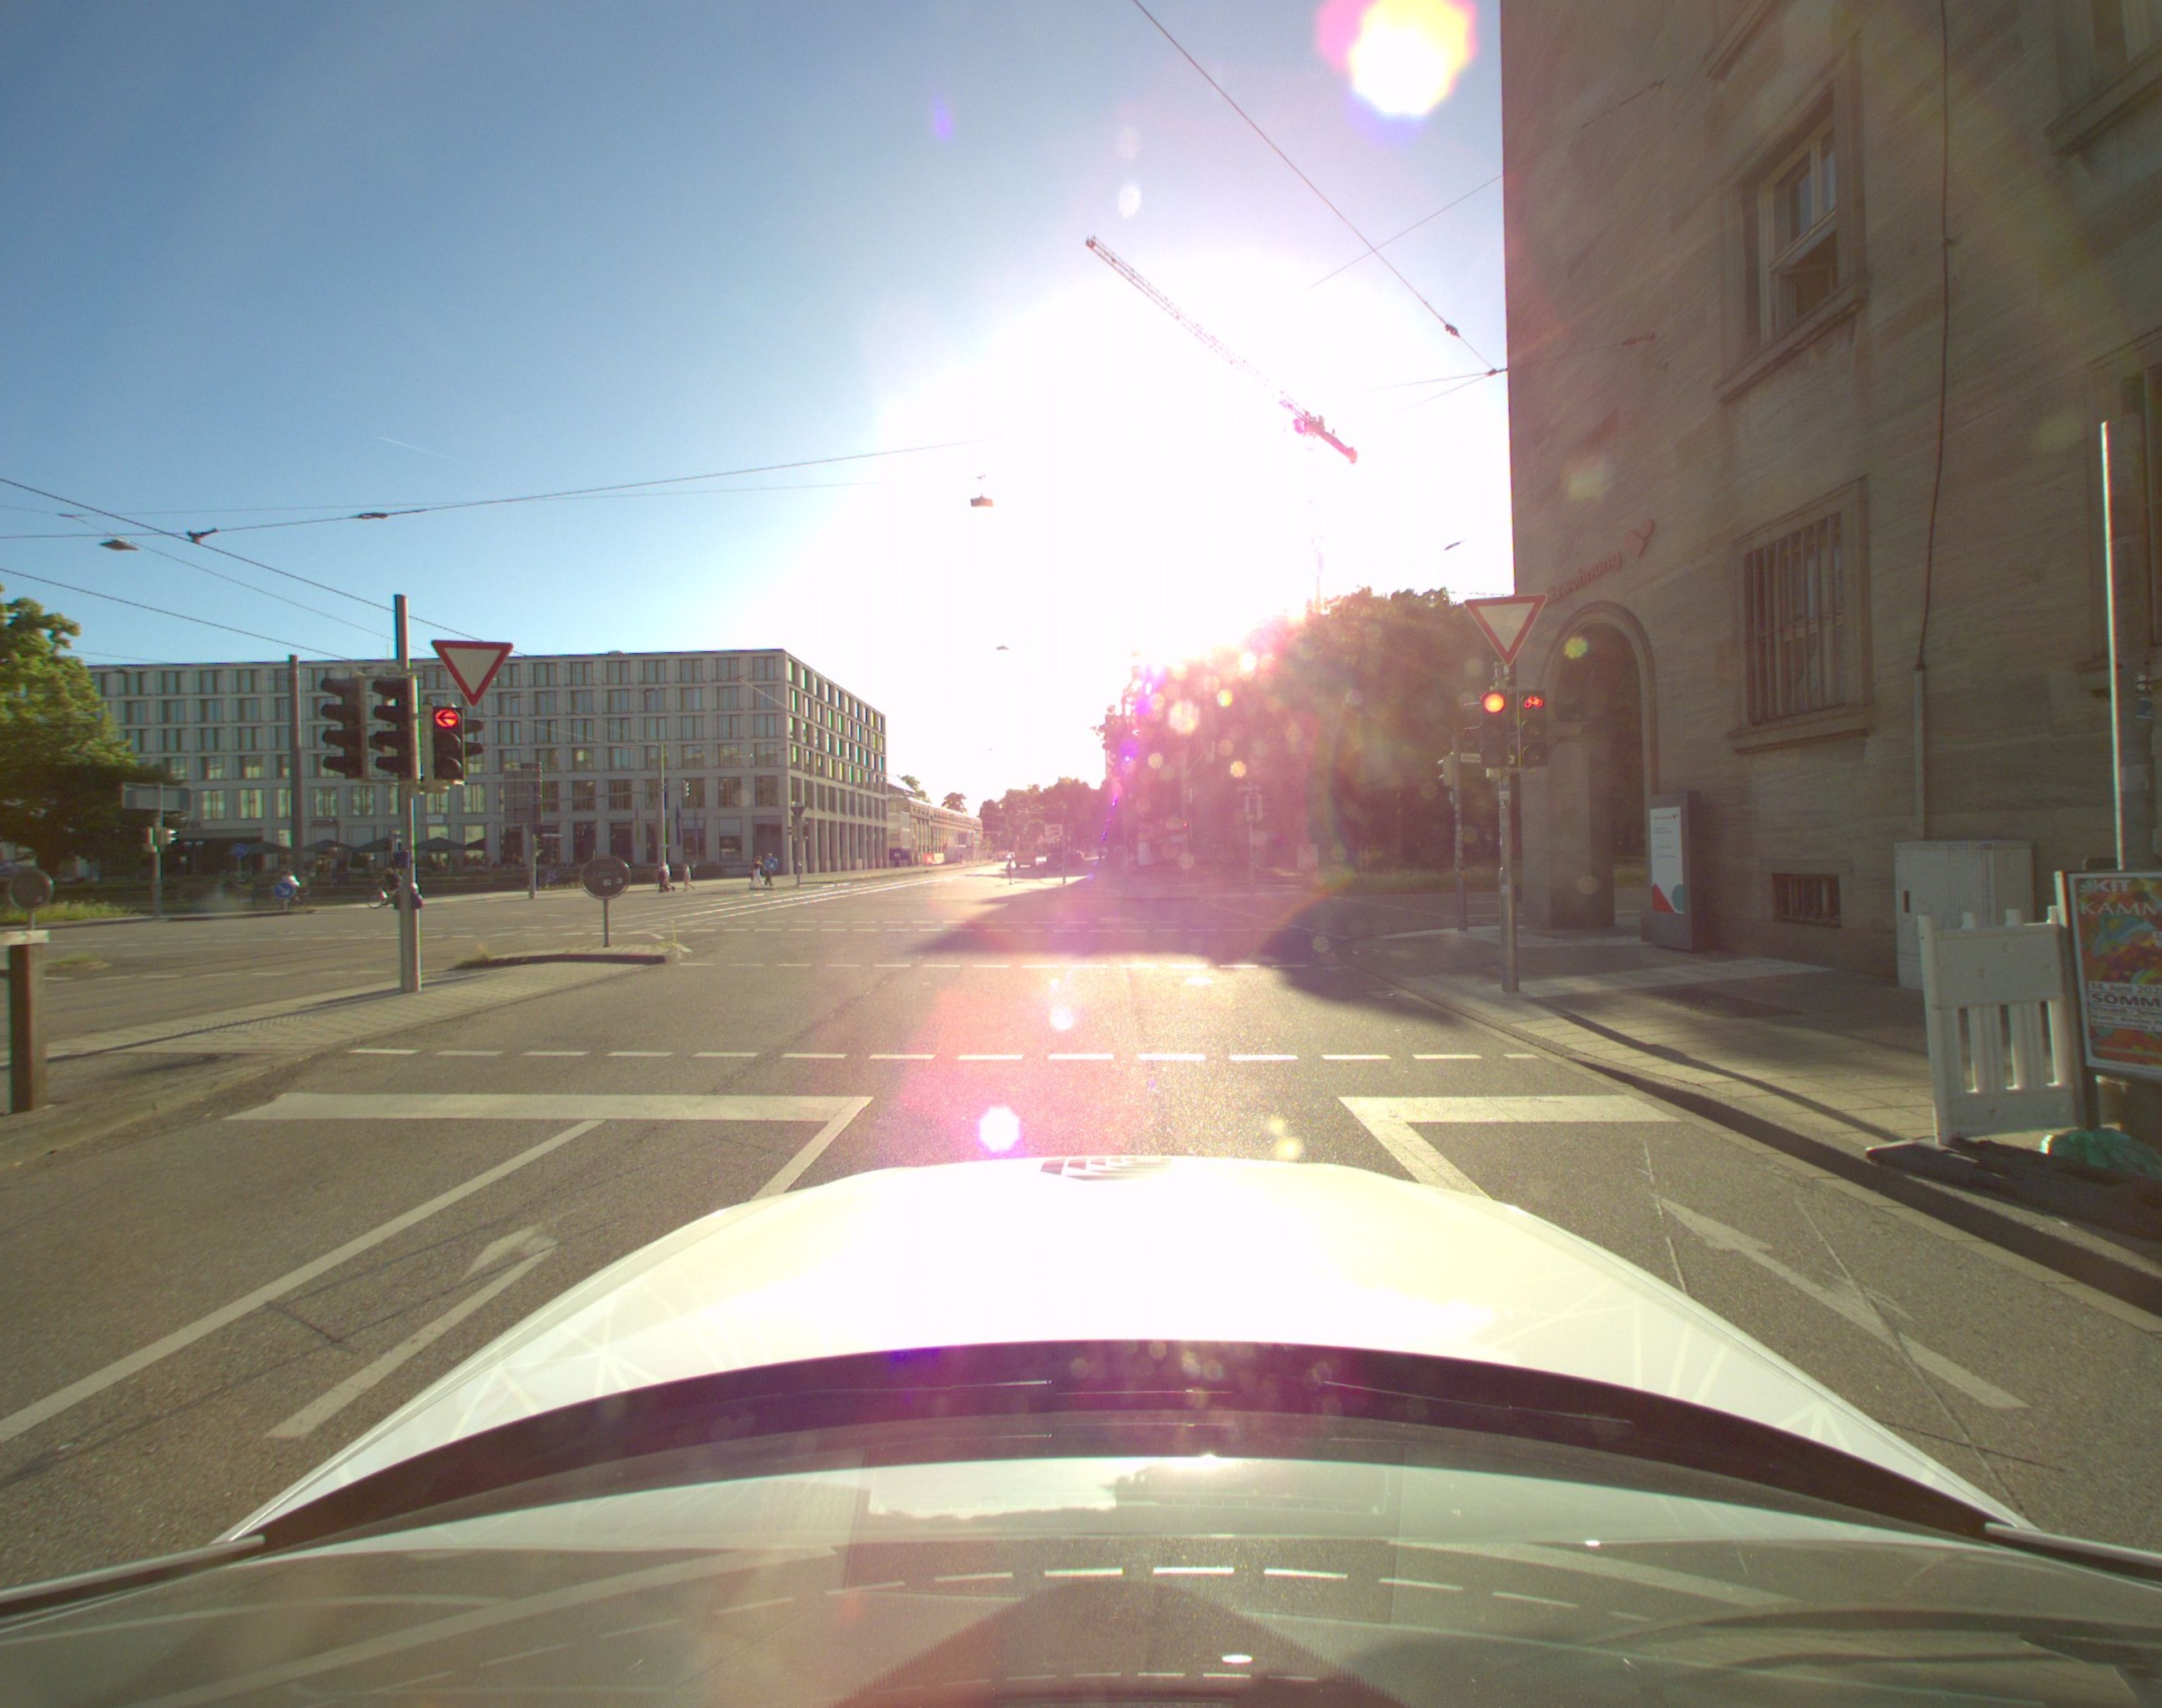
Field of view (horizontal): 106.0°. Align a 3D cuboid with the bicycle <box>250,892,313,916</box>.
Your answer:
[{"bbox_3d":[-34.241,2.125,34.887,2.059,0.933,0.574,-2,0,-3],"label":"bicycle"}]

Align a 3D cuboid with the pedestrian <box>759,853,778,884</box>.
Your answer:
[{"bbox_3d":[-17.585,0.813,45.800,0.744,1.761,0.679,-2,-1,6],"label":"pedestrian"}]

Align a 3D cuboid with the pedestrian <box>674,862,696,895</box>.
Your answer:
[{"bbox_3d":[-22.139,1.349,45.533,0.865,1.803,0.533,-2,0,7],"label":"pedestrian"}]

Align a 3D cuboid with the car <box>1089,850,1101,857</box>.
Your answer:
[{"bbox_3d":[3.648,-0.130,213.665,3.207,1.588,1.445,0,-1,-3],"label":"car"}]

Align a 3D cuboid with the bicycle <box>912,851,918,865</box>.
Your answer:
[{"bbox_3d":[-26.722,0.623,131.150,0.569,2.296,1.422,-2,0,0],"label":"bicycle"}]

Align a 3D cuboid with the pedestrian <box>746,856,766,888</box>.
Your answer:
[{"bbox_3d":[-16.976,0.941,42.571,0.790,1.644,0.621,-2,0,-3],"label":"pedestrian"}]

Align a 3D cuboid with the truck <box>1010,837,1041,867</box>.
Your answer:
[{"bbox_3d":[-5.829,-0.181,86.753,2.707,3.016,6.489,-1,0,0],"label":"truck"}]

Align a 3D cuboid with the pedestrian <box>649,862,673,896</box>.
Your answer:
[{"bbox_3d":[-22.827,1.346,44.241,0.865,1.803,0.665,-2,0,7],"label":"pedestrian"}]

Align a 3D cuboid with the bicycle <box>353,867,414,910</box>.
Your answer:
[{"bbox_3d":[-29.918,1.476,34.967,1.898,1.735,0.594,-2,0,-12],"label":"bicycle"}]

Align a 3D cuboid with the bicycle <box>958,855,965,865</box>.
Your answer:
[{"bbox_3d":[-19.120,0.920,130.620,0.687,1.511,2.944,0,-1,0],"label":"bicycle"}]

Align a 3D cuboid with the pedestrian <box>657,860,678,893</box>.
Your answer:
[{"bbox_3d":[-23.152,1.246,45.626,0.735,1.803,0.717,-2,0,7],"label":"pedestrian"}]

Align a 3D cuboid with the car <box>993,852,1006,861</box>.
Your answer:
[{"bbox_3d":[-15.714,0.545,157.144,1.888,1.607,4.499,-2,0,0],"label":"car"}]

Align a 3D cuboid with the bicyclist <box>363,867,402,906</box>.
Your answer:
[{"bbox_3d":[-29.961,1.380,34.960,1.075,1.641,0.594,-2,0,-12],"label":"bicyclist"}]

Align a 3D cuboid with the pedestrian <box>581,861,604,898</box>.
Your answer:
[{"bbox_3d":[-26.338,1.373,43.948,0.797,1.918,0.638,-2,0,7],"label":"pedestrian"}]

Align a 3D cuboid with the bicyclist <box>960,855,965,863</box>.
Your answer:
[{"bbox_3d":[-19.071,0.818,130.690,0.687,1.328,1.000,0,-1,0],"label":"bicyclist"}]

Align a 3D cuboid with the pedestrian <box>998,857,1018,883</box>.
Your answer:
[{"bbox_3d":[-3.916,0.858,43.894,0.991,1.317,0.767,-2,0,-1],"label":"pedestrian"}]

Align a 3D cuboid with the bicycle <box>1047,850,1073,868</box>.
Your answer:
[{"bbox_3d":[-2.057,0.506,81.688,2.538,1.743,1.038,0,-1,1],"label":"bicycle"}]

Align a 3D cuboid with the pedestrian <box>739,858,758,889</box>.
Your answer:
[{"bbox_3d":[-18.278,1.073,44.764,0.691,1.644,0.622,-2,0,2],"label":"pedestrian"}]

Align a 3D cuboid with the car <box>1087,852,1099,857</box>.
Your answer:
[{"bbox_3d":[3.187,0.056,211.388,3.207,1.263,1.373,0,-1,0],"label":"car"}]

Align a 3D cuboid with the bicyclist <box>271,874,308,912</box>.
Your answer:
[{"bbox_3d":[-33.925,1.673,34.905,0.972,1.560,0.574,-2,0,-3],"label":"bicyclist"}]
